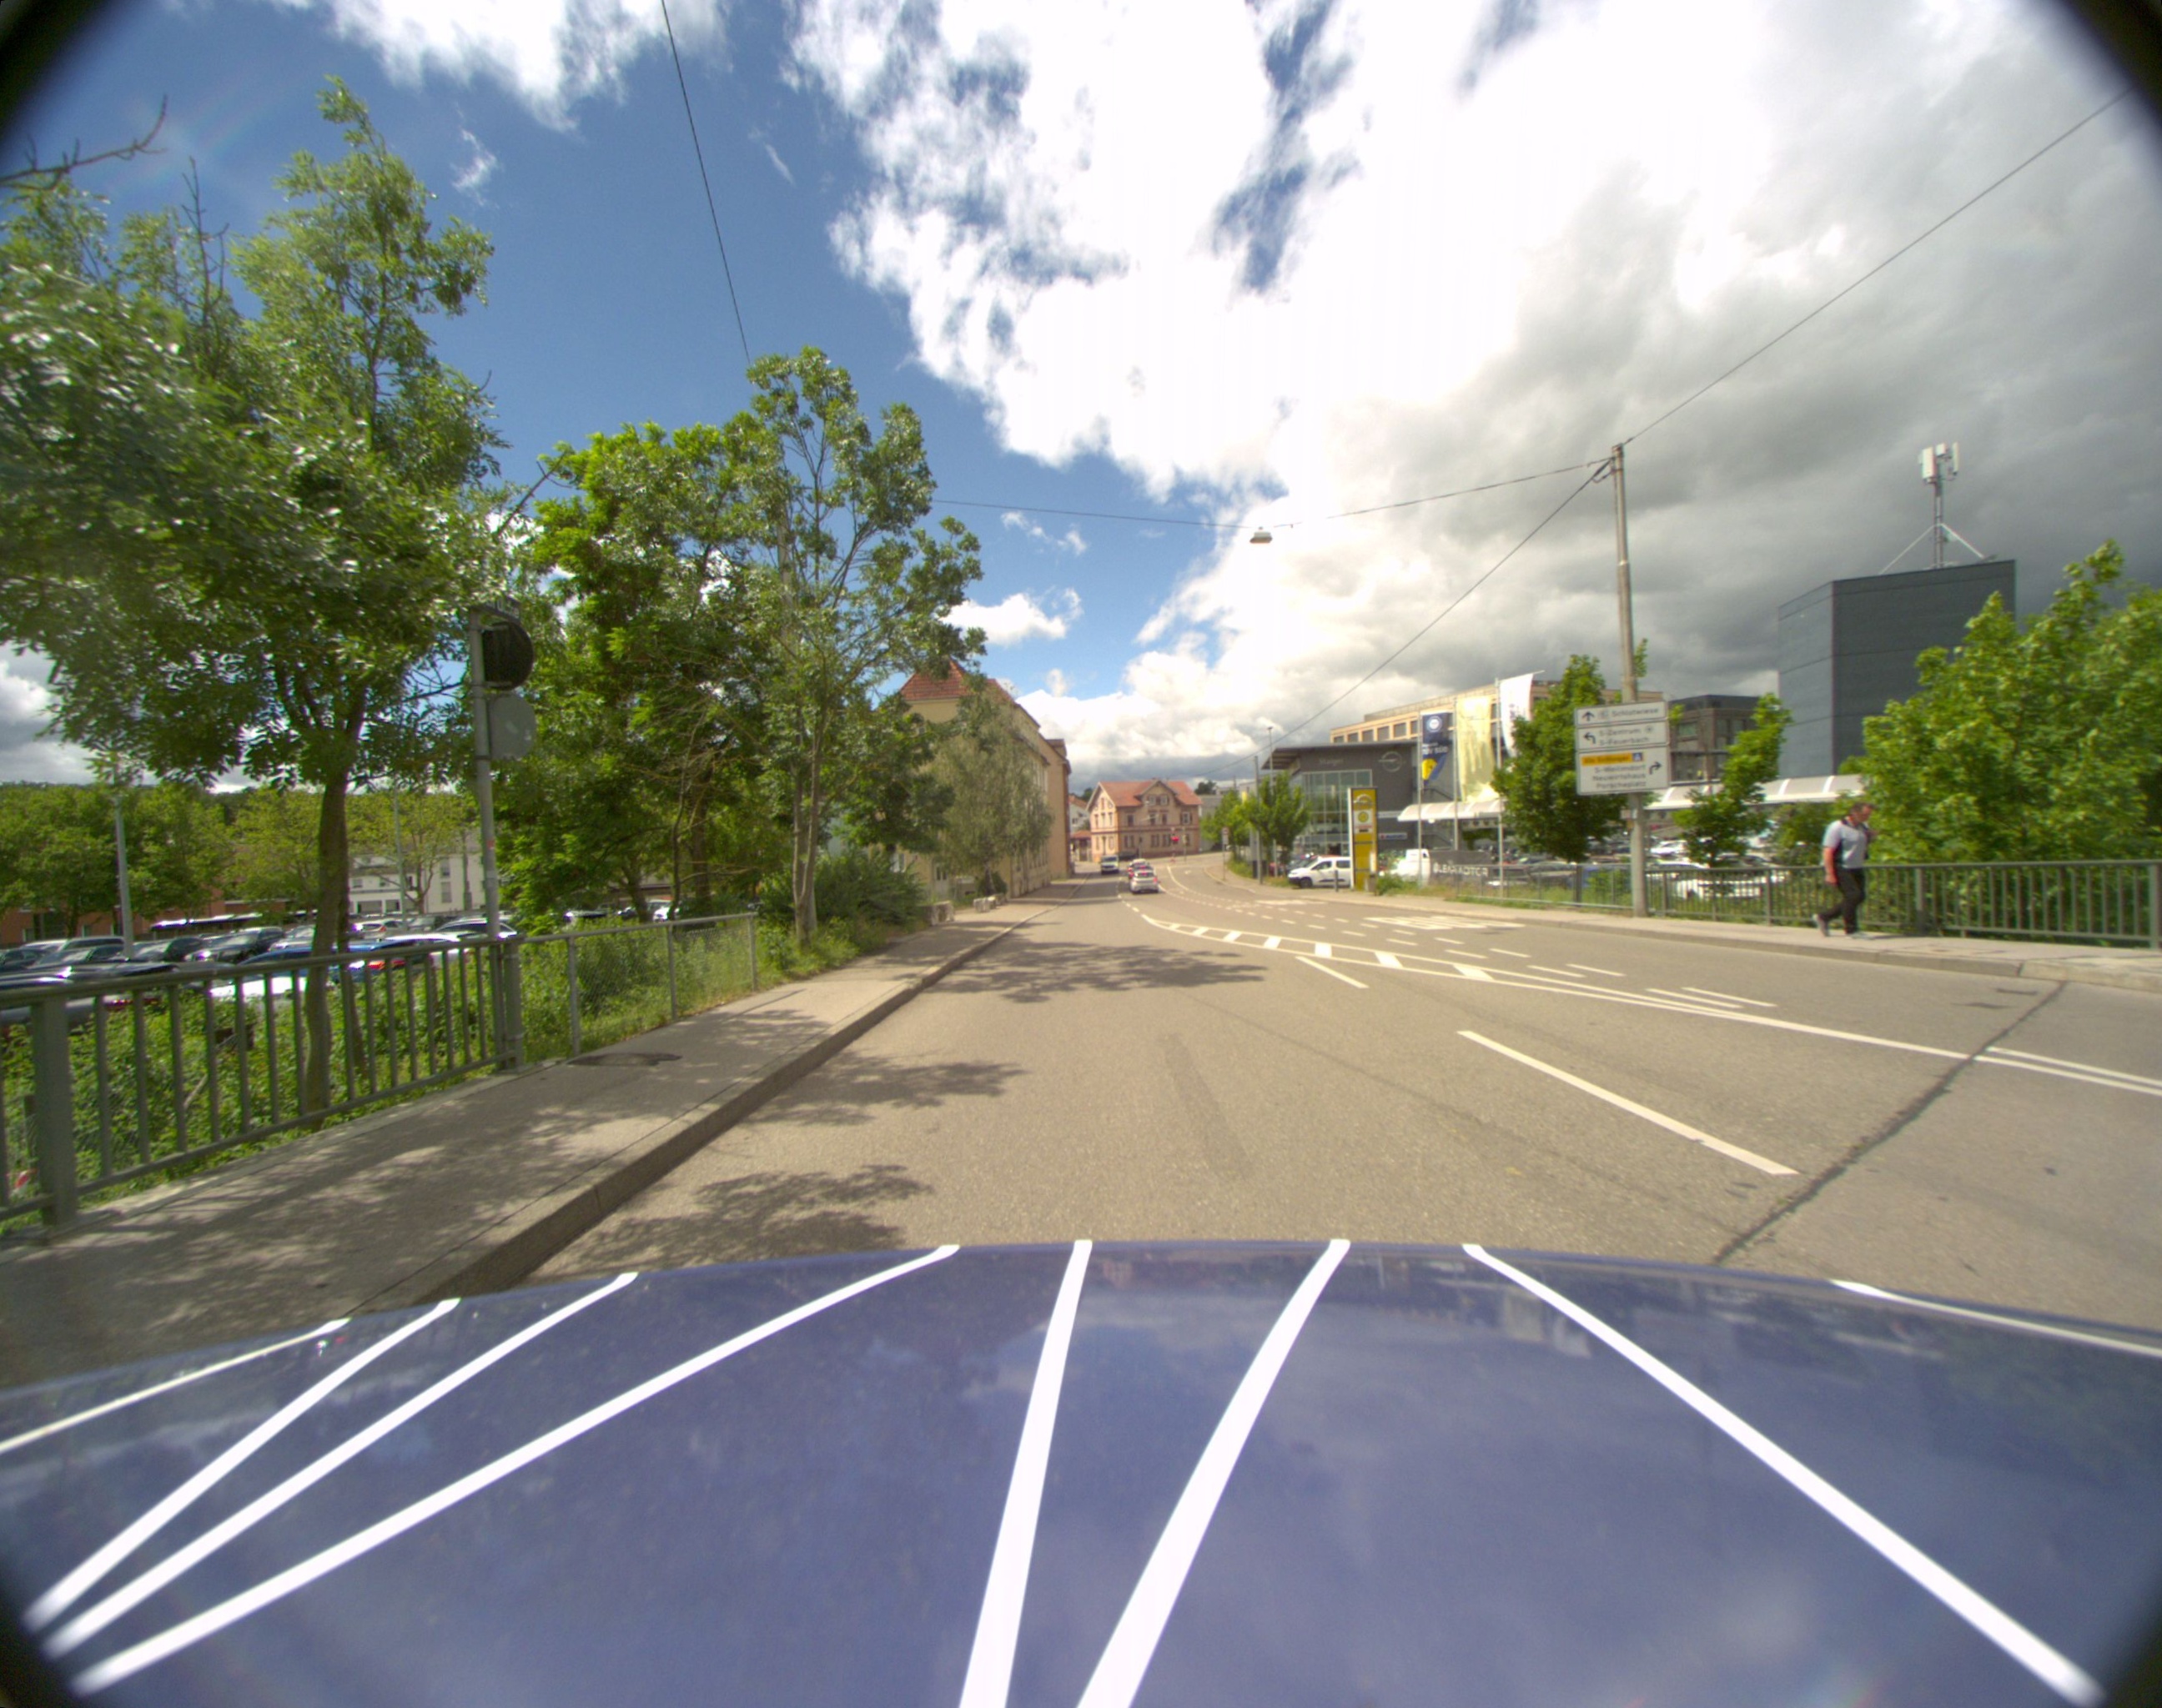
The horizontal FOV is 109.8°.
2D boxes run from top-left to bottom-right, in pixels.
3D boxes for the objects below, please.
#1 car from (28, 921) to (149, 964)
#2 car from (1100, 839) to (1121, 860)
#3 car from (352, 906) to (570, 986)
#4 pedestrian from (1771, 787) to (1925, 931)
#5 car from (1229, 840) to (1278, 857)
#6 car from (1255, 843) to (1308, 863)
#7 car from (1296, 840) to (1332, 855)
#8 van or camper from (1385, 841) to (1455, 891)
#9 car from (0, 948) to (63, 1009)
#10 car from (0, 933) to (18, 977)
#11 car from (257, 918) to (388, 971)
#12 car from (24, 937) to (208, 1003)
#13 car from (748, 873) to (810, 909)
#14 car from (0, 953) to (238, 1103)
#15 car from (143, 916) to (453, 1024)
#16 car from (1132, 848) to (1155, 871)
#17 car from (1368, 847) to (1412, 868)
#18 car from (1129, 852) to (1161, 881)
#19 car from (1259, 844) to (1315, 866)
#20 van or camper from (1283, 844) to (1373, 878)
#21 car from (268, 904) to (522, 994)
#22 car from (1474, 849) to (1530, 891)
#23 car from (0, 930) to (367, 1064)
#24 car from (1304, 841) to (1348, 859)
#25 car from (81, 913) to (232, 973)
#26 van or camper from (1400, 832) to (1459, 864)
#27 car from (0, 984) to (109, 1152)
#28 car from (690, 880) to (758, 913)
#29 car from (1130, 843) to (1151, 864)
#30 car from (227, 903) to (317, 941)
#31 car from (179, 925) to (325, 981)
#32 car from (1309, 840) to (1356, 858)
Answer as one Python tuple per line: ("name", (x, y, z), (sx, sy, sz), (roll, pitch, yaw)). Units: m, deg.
("car", (-46.727, 4.133, 35.911), (1.874, 1.440, 3.710), (-4, 2, -25))
("car", (3.177, -0.526, 82.354), (1.998, 1.982, 4.987), (-5, 2, 1))
("car", (-17.577, 2.568, 21.775), (4.351, 1.660, 1.870), (-4, 2, -11))
("pedestrian", (10.532, 0.065, 10.486), (0.998, 1.826, 1.037), (-3, 1, 5))
("car", (16.374, -0.510, 72.284), (4.216, 1.489, 1.812), (-2, 1, 3))
("car", (16.320, -0.067, 61.937), (3.836, 1.489, 1.812), (-2, 1, 3))
("car", (22.679, -0.658, 74.067), (3.017, 1.365, 1.518), (-2, 1, 3))
("van or camper", (15.807, 0.507, 35.303), (1.985, 1.952, 4.967), (-3, 1, 35))
("car", (-28.850, 3.430, 19.129), (1.722, 1.383, 3.993), (-7, 3, -18))
("car", (-46.163, 4.413, 30.392), (2.001, 1.776, 4.435), (-7, 3, -22))
("car", (-33.681, 3.960, 33.940), (1.872, 1.660, 4.345), (-4, 2, -9))
("car", (-30.217, 3.561, 23.992), (1.504, 1.255, 3.993), (-7, 3, -18))
("car", (-16.663, 2.023, 42.165), (1.875, 1.614, 4.279), (-3, 1, -3))
("car", (-15.855, 2.634, 11.025), (4.354, 1.660, 1.868), (-4, 2, -24))
("car", (-16.963, 2.466, 16.723), (4.351, 1.660, 1.870), (-4, 2, -11))
("car", (5.243, 0.414, 63.063), (1.722, 1.573, 4.251), (-4, 2, 6))
("car", (19.992, 0.220, 49.277), (1.544, 1.246, 3.474), (-2, 1, 1))
("car", (4.181, 0.771, 49.914), (1.723, 1.573, 3.998), (-5, 2, 1))
("car", (16.036, 0.069, 59.257), (3.858, 1.489, 1.812), (-2, 1, 2))
("van or camper", (14.447, 0.410, 44.629), (4.677, 1.740, 2.001), (-2, 1, 7))
("car", (-17.273, 2.356, 19.373), (4.351, 1.660, 1.870), (-4, 2, -11))
("car", (17.625, 0.622, 31.934), (1.814, 1.458, 4.005), (-2, 2, 26))
("car", (-16.574, 2.544, 14.102), (4.353, 1.660, 1.869), (-4, 2, -18))
("car", (20.955, -0.366, 65.029), (3.323, 1.365, 1.518), (-2, 1, 2))
("car", (-38.871, 3.678, 32.141), (2.001, 1.776, 4.435), (-7, 3, -22))
("van or camper", (23.823, -0.448, 52.078), (1.998, 2.002, 4.685), (-2, 1, 2))
("car", (-14.777, 2.736, 8.474), (4.355, 1.660, 1.867), (-4, 2, -28))
("car", (-19.749, 2.338, 42.271), (1.875, 1.441, 4.279), (-3, 1, -3))
("car", (5.444, -0.053, 69.102), (1.722, 1.573, 4.318), (-6, 2, 6))
("car", (-50.085, 4.161, 47.171), (2.001, 1.776, 4.435), (-7, 3, -22))
("car", (-35.733, 4.215, 32.955), (1.872, 1.660, 4.345), (-4, 2, -9))
("car", (20.565, -0.444, 62.253), (3.323, 1.365, 1.518), (-2, 1, 2))
